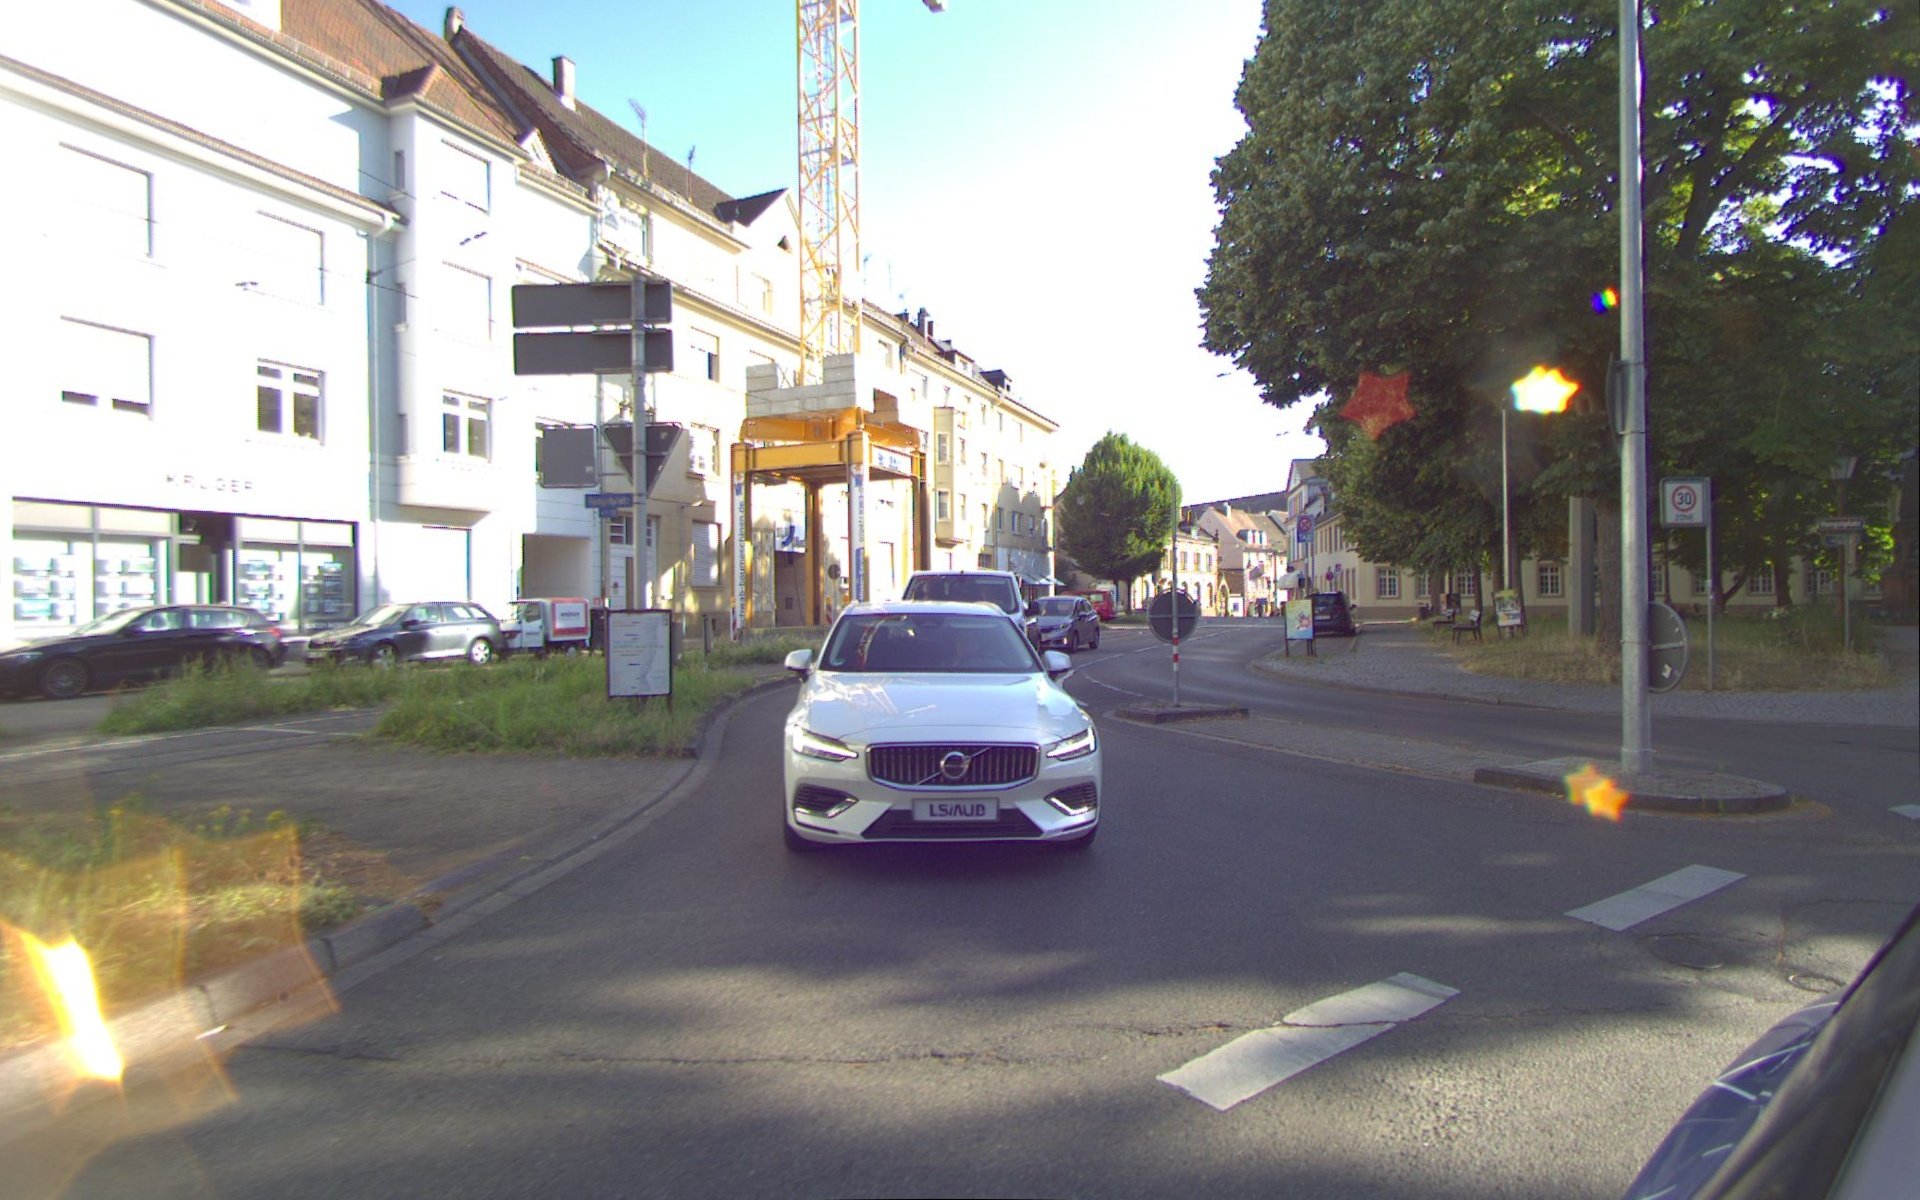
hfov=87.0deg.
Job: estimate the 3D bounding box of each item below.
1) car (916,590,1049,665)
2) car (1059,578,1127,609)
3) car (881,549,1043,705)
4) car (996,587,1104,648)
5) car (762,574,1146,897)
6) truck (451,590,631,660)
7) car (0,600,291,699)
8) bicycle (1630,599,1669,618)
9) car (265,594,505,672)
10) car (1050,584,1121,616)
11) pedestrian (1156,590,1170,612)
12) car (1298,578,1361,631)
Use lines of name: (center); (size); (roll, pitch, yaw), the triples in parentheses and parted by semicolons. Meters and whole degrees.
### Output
car: (0.593, 0.555, 22.067); (1.972, 1.463, 4.051); (0, 0, 16)
car: (8.590, -0.424, 65.194); (4.022, 1.946, 1.986); (0, 0, 21)
car: (0.169, 0.329, 14.784); (1.964, 1.878, 4.897); (0, 0, 4)
car: (2.556, 0.449, 27.907); (1.976, 1.538, 4.043); (0, 0, 21)
car: (-0.346, 0.636, 7.138); (1.817, 1.482, 4.779); (0, 0, -8)
truck: (-10.538, 0.585, 25.785); (1.977, 1.606, 4.066); (0, 0, 22)
car: (-13.760, 0.714, 16.691); (1.978, 1.404, 4.174); (0, 0, 24)
bicycle: (38.920, 0.469, 57.150); (1.747, 1.045, 0.715); (1, 1, 28)
car: (-11.924, 0.625, 21.290); (1.977, 1.471, 4.066); (0, 0, 22)
car: (7.690, -0.017, 62.092); (4.022, 1.946, 1.986); (0, 0, 21)
pedestrian: (19.557, 0.086, 97.513); (1.336, 2.039, 1.153); (0, 0, 14)
car: (13.615, 0.146, 37.160); (1.977, 1.816, 3.970); (-2, 0, 22)
